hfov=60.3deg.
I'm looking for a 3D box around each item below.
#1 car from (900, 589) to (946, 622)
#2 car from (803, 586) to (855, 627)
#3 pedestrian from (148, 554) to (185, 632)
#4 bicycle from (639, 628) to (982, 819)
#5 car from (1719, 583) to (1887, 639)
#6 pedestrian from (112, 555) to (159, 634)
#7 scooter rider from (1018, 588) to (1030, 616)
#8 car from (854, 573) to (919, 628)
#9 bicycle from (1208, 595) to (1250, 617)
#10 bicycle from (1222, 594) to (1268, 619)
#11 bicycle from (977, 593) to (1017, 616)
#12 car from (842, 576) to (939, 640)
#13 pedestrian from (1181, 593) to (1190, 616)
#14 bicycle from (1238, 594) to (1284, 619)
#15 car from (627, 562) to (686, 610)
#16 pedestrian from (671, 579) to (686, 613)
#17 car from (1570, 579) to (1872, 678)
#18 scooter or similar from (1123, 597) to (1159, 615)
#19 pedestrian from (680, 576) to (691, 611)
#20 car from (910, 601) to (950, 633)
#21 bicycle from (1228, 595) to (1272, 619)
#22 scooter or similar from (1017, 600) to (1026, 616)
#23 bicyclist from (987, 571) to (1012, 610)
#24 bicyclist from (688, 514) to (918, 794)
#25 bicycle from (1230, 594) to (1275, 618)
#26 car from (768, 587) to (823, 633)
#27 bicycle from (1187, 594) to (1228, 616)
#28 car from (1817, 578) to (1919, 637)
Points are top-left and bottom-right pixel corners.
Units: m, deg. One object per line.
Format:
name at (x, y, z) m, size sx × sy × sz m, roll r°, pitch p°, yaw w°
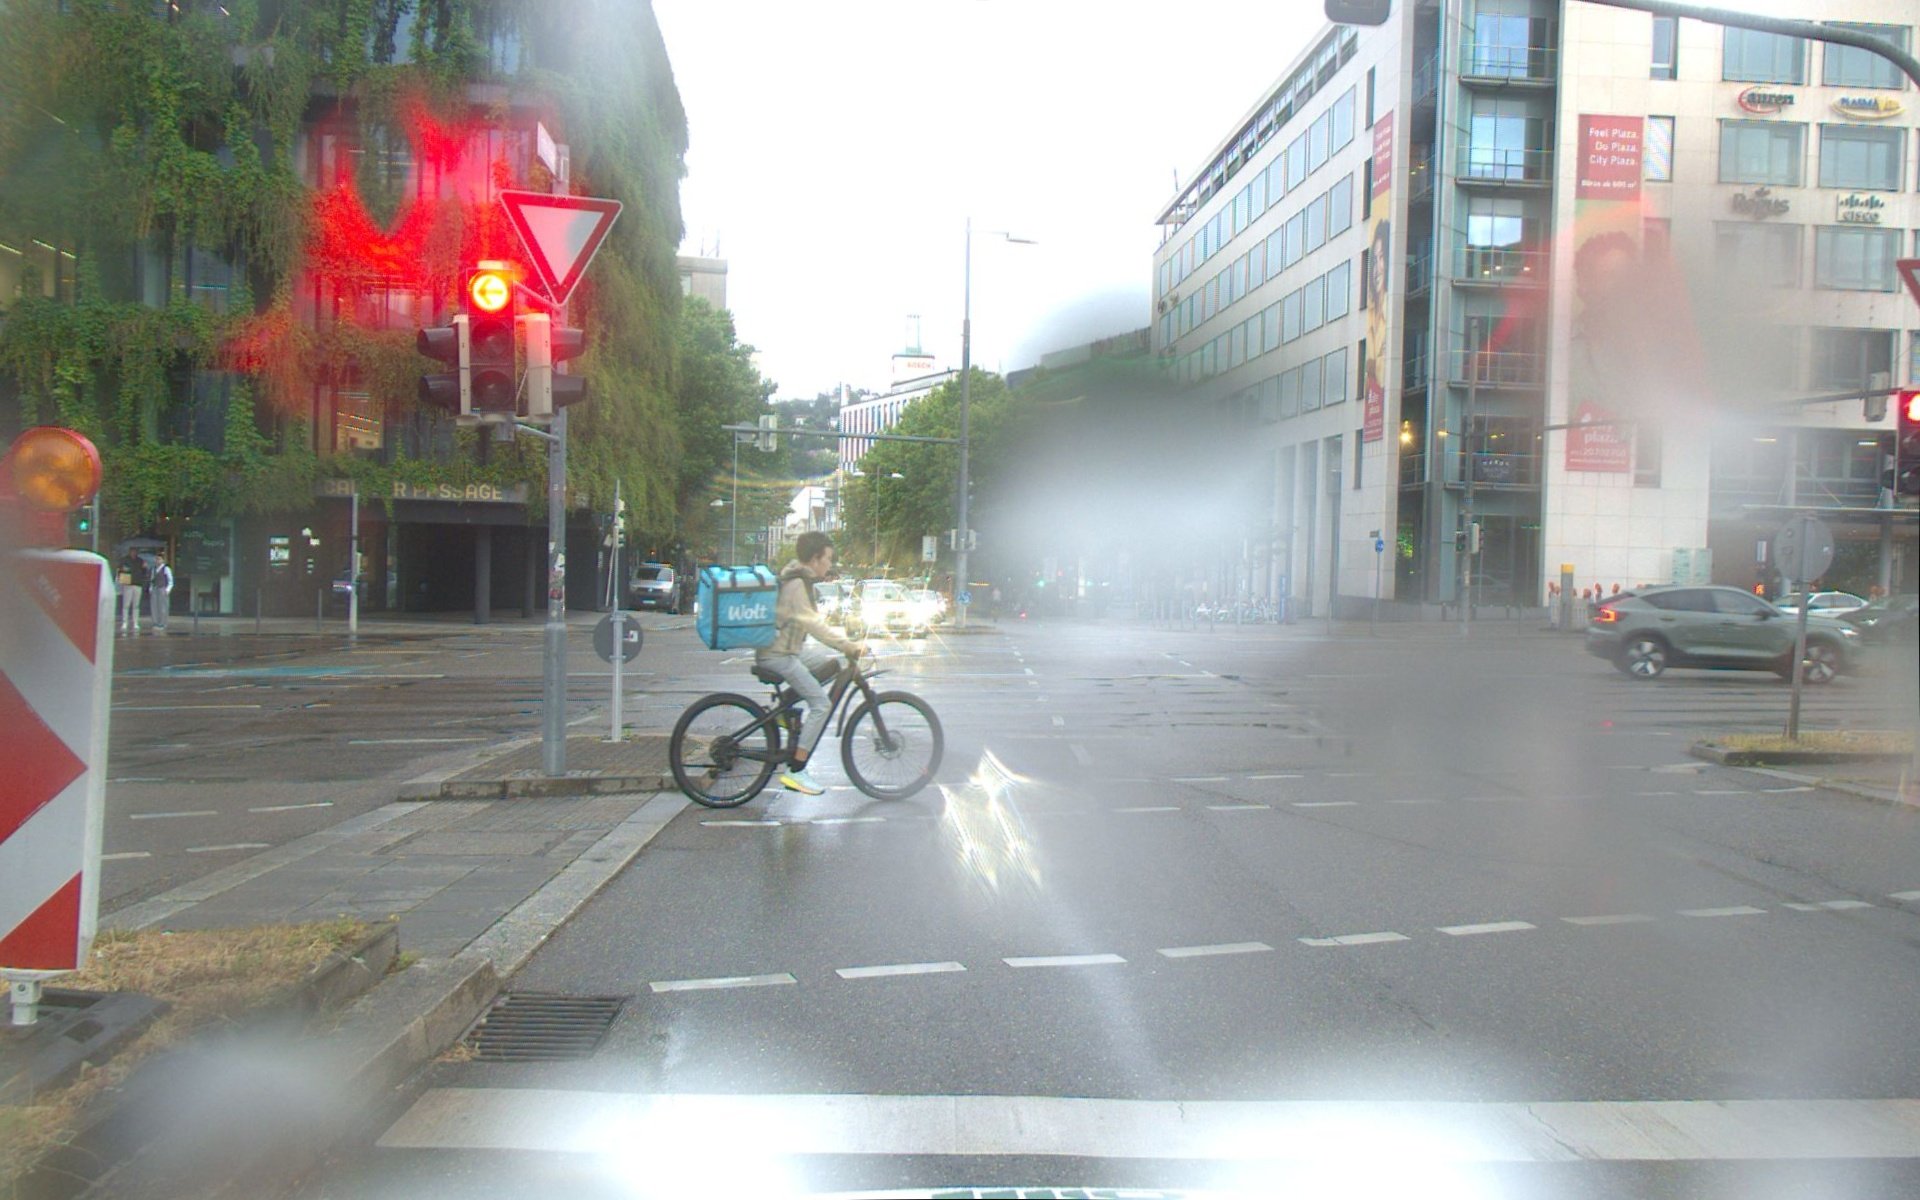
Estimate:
car at (-1.776, 0.214, 77.627) m, size 1.954 × 1.469 × 4.553 m, roll 1°, pitch 1°, yaw -4°
car at (-5.147, 0.236, 64.592) m, size 1.821 × 1.473 × 4.614 m, roll 0°, pitch 1°, yaw -7°
pedestrian at (-18.549, -0.169, 38.663) m, size 0.731 × 1.788 × 0.969 m, roll 0°, pitch 0°, yaw -24°
bicycle at (-0.975, 0.767, 10.967) m, size 2.122 × 1.122 × 0.840 m, roll 0°, pitch 0°, yaw -30°
car at (25.491, 0.329, 50.040) m, size 4.378 × 1.626 × 1.992 m, roll 0°, pitch 0°, yaw -16°
pedestrian at (-19.139, -0.131, 38.415) m, size 0.923 × 1.788 × 1.163 m, roll 0°, pitch 0°, yaw -24°
scooter rider at (4.218, 0.129, 109.380) m, size 0.746 × 1.805 × 0.796 m, roll 0°, pitch 0°, yaw 3°
car at (-2.499, -0.016, 55.538) m, size 1.926 × 1.684 × 4.359 m, roll 0°, pitch 2°, yaw -6°
bicycle at (11.609, 0.252, 71.436) m, size 1.757 × 0.950 × 0.475 m, roll 1°, pitch 0°, yaw 2°
bicycle at (11.151, 0.245, 64.748) m, size 1.767 × 0.950 × 0.473 m, roll 1°, pitch 1°, yaw 41°
bicycle at (1.922, 0.225, 86.625) m, size 0.787 × 1.136 × 2.222 m, roll 1°, pitch 0°, yaw -41°
car at (-1.889, 0.153, 43.567) m, size 1.958 × 1.512 × 4.453 m, roll 0°, pitch 2°, yaw -11°
pedestrian at (11.742, 0.219, 86.064) m, size 0.347 × 1.194 × 0.413 m, roll 0°, pitch 0°, yaw -16°
bicycle at (11.898, 0.245, 65.401) m, size 1.767 × 0.950 × 0.473 m, roll 1°, pitch 1°, yaw 41°
car at (-12.525, -0.585, 68.482) m, size 1.955 × 1.928 × 4.460 m, roll 1°, pitch 1°, yaw -5°
pedestrian at (-12.668, -0.187, 74.531) m, size 0.595 × 1.550 × 0.587 m, roll 1°, pitch 0°, yaw -5°
car at (12.933, 0.444, 28.436) m, size 4.444 × 1.577 × 2.001 m, roll 1°, pitch 0°, yaw 16°
scooter or similar at (8.793, 0.284, 80.295) m, size 1.720 × 0.894 × 0.486 m, roll 0°, pitch 0°, yaw -20°
pedestrian at (-12.404, -0.304, 74.696) m, size 0.428 × 1.550 × 0.547 m, roll 1°, pitch 0°, yaw -5°
car at (-1.672, 0.901, 90.610) m, size 1.954 × 1.556 × 4.553 m, roll 0°, pitch 2°, yaw -4°
bicycle at (11.749, 0.277, 67.110) m, size 1.767 × 0.950 × 0.473 m, roll 1°, pitch 1°, yaw 41°
scooter or similar at (4.069, 0.509, 109.477) m, size 0.544 × 1.024 × 1.825 m, roll 0°, pitch 0°, yaw 4°
bicyclist at (2.072, -0.505, 86.438) m, size 0.787 × 2.009 × 1.097 m, roll 1°, pitch 0°, yaw -42°
bicyclist at (-1.041, 0.331, 10.958) m, size 1.282 × 1.733 × 0.839 m, roll 0°, pitch 0°, yaw -32°
bicycle at (11.724, 0.241, 66.364) m, size 1.767 × 0.950 × 0.473 m, roll 1°, pitch 1°, yaw 41°
car at (-5.757, 0.330, 57.959) m, size 1.820 × 1.473 × 4.616 m, roll 0°, pitch 1°, yaw -6°
bicycle at (10.965, 0.240, 73.274) m, size 1.757 × 0.950 × 0.475 m, roll 1°, pitch 0°, yaw 2°
car at (26.780, 0.212, 46.695) m, size 4.373 × 1.626 × 1.994 m, roll 0°, pitch 0°, yaw -13°
